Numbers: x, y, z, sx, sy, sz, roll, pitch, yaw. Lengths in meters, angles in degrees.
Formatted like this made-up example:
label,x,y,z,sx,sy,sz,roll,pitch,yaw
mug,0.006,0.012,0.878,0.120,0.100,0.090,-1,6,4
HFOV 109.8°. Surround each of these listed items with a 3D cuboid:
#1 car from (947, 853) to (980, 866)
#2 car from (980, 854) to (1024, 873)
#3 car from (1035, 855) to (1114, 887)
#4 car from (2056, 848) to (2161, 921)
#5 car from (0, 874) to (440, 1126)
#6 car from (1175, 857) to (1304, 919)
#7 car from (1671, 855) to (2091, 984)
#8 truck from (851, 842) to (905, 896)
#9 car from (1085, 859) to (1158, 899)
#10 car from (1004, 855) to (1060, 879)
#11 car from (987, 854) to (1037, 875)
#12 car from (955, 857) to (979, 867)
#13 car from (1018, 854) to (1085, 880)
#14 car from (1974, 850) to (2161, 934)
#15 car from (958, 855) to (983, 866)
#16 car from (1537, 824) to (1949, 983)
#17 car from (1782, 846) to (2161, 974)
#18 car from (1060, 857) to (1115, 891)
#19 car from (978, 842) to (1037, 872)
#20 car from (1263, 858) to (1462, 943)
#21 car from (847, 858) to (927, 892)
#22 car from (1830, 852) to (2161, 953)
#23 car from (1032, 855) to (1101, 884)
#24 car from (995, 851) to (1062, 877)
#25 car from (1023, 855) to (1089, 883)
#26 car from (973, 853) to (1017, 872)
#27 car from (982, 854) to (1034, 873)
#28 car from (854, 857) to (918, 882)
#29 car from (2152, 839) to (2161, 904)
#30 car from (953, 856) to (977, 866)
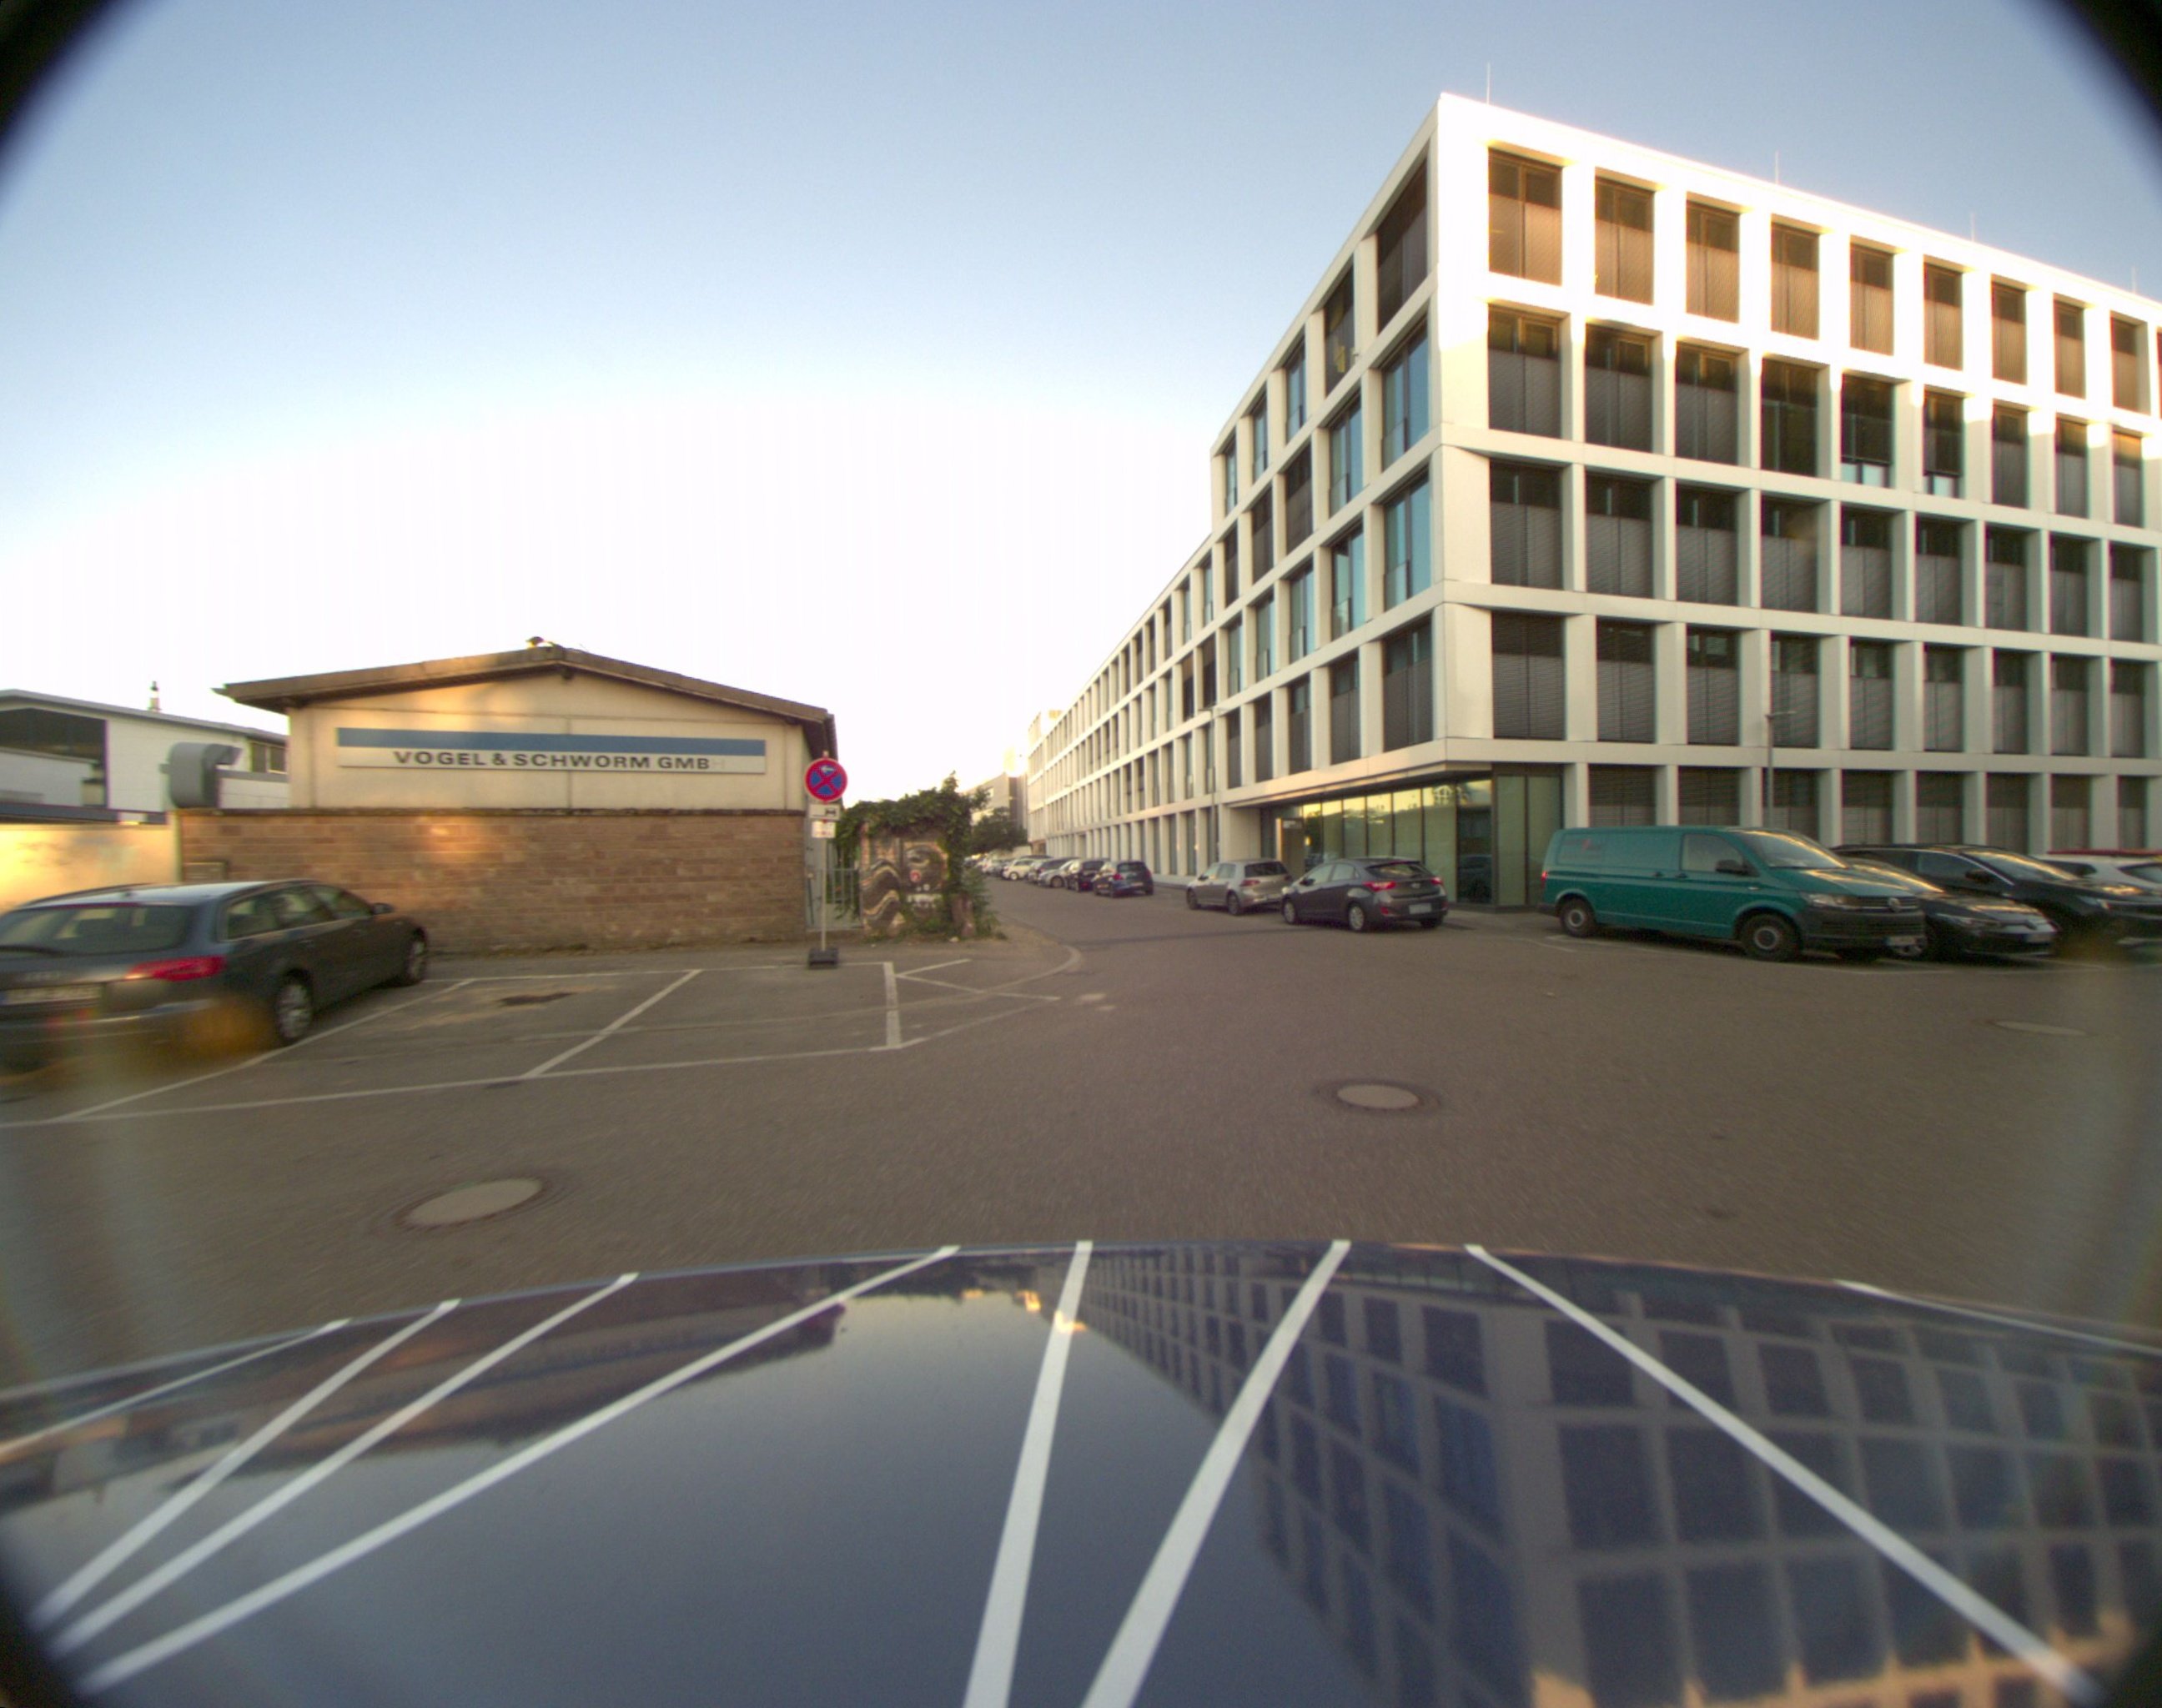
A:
label,x,y,z,sx,sy,sz,roll,pitch,yaw
car,-19.558,0.959,126.474,5.089,1.870,1.886,-3,1,-18
car,-7.141,0.847,68.647,3.721,1.486,1.706,-2,0,-12
car,-0.384,0.901,40.699,3.940,1.502,1.686,-2,0,-11
car,23.272,0.659,15.248,1.736,1.448,4.192,-1,2,-14
car,-8.349,1.087,7.484,1.834,1.522,4.718,-1,2,-24
car,4.354,0.889,21.595,1.716,1.470,4.179,-5,1,-17
car,12.401,0.864,12.279,1.786,1.541,4.324,-1,2,-14
truck,-9.038,0.673,34.046,2.106,2.187,5.705,0,-1,-14
car,1.570,0.964,31.078,1.654,1.430,4.179,-5,1,-15
car,-3.436,0.889,52.704,3.678,1.502,1.695,-2,0,-9
car,-5.573,0.852,61.203,3.795,1.513,1.691,-2,0,-14
car,-18.279,1.217,121.627,3.658,1.416,1.723,-3,0,-13
car,-1.893,0.823,48.093,3.978,1.502,1.794,-2,0,-11
car,20.614,0.720,14.552,1.736,1.448,4.192,-1,2,-14
car,-17.251,1.067,118.954,3.658,1.538,1.723,-3,1,-13
car,9.834,0.587,11.928,1.804,1.968,4.682,-1,1,-14
car,14.836,0.746,12.698,1.736,1.650,4.324,-1,2,-14
car,0.240,0.932,36.860,1.654,1.430,4.197,-5,1,-13
car,-7.098,0.299,73.357,5.399,2.617,2.076,-2,0,-11
car,5.734,0.860,16.117,1.786,1.470,4.326,-3,0,-14
car,-9.740,1.022,38.356,3.773,1.527,1.889,-2,2,-13
car,17.150,0.761,14.187,1.736,1.448,4.192,-1,2,-14
car,-0.839,0.877,43.308,3.667,1.502,1.686,-2,0,-12
car,-3.859,0.746,55.241,4.634,1.696,2.003,-2,0,-9
car,-1.509,0.864,45.577,3.667,1.502,1.686,-2,0,-12
car,-8.869,0.874,78.341,4.124,1.806,1.814,-2,0,-16
car,-6.346,0.801,66.208,4.322,1.486,1.793,-2,0,-11
car,-12.939,1.025,50.484,3.998,1.437,1.824,-2,1,-13
car,27.751,0.474,16.727,1.736,1.603,4.458,-1,2,-14
car,-19.014,1.186,124.167,3.659,1.416,1.723,-3,0,-14
